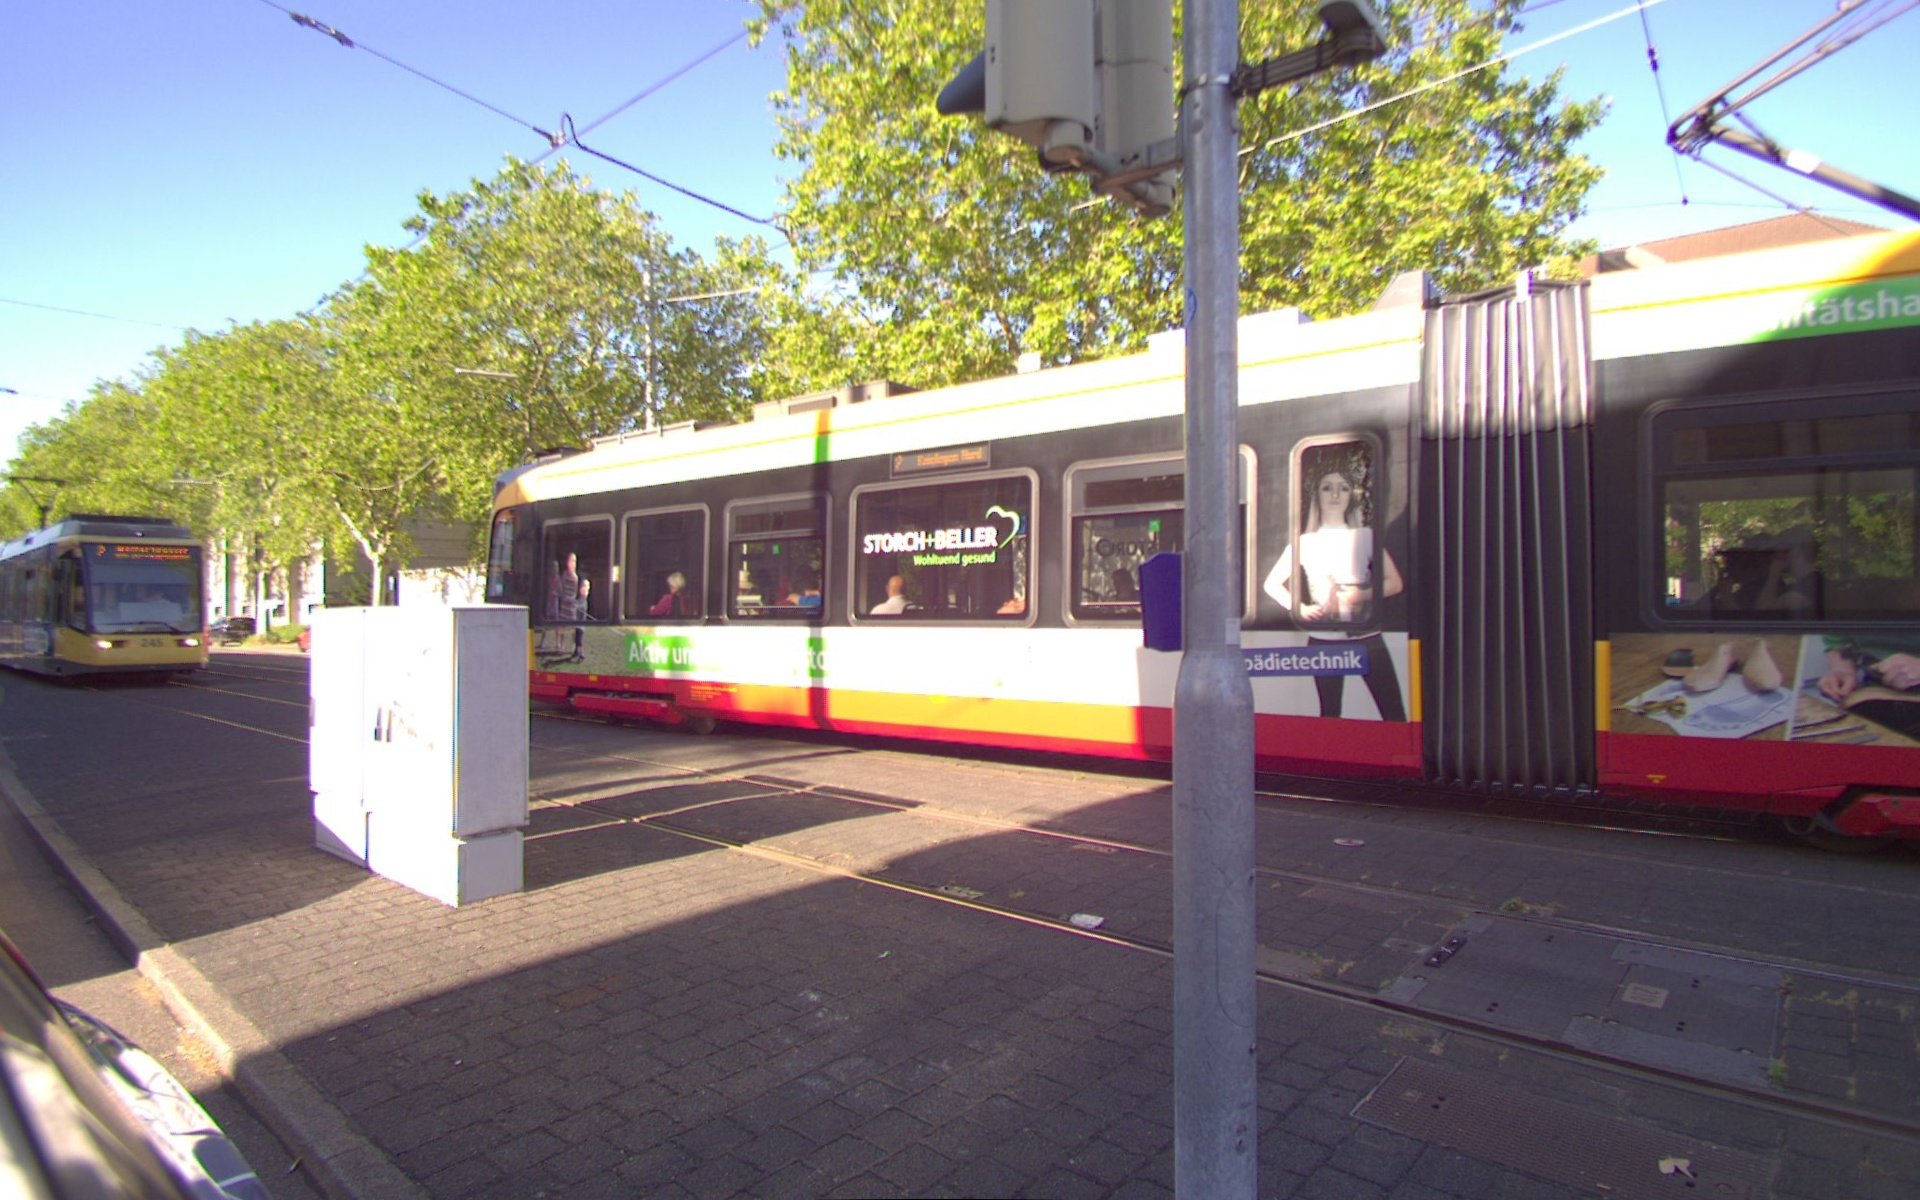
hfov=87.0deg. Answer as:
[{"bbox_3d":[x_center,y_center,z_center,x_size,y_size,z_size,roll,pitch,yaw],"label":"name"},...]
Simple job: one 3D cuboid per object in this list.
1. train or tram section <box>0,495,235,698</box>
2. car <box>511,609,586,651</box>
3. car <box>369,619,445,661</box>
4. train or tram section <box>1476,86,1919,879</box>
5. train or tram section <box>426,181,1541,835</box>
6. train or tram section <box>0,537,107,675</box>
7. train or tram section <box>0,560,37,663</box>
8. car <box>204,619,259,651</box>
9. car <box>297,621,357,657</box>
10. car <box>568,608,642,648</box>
[{"bbox_3d":[-20.305,0.048,23.571,12.646,3.692,2.683,-1,-1,41],"label":"train or tram section"},{"bbox_3d":[-17.083,1.221,41.974,3.303,1.628,1.579,-1,0,41],"label":"car"},{"bbox_3d":[-21.875,1.550,40.006,3.303,1.519,1.579,-1,1,41],"label":"car"},{"bbox_3d":[9.215,-0.626,3.802,12.775,3.843,2.910,-1,-1,31],"label":"train or tram section"},{"bbox_3d":[-1.314,-0.433,11.092,13.033,3.843,2.904,-1,-1,38],"label":"train or tram section"},{"bbox_3d":[-29.871,0.266,31.844,12.646,3.692,2.683,-1,-1,41],"label":"train or tram section"},{"bbox_3d":[-39.417,0.498,40.131,12.646,3.692,2.683,-1,-1,41],"label":"train or tram section"},{"bbox_3d":[-40.675,1.932,56.456,3.748,1.670,1.674,-1,1,41],"label":"car"},{"bbox_3d":[-28.685,1.748,45.833,2.621,1.519,1.579,-1,1,41],"label":"car"},{"bbox_3d":[-15.264,1.185,43.451,3.303,1.604,1.579,-1,0,41],"label":"car"}]
